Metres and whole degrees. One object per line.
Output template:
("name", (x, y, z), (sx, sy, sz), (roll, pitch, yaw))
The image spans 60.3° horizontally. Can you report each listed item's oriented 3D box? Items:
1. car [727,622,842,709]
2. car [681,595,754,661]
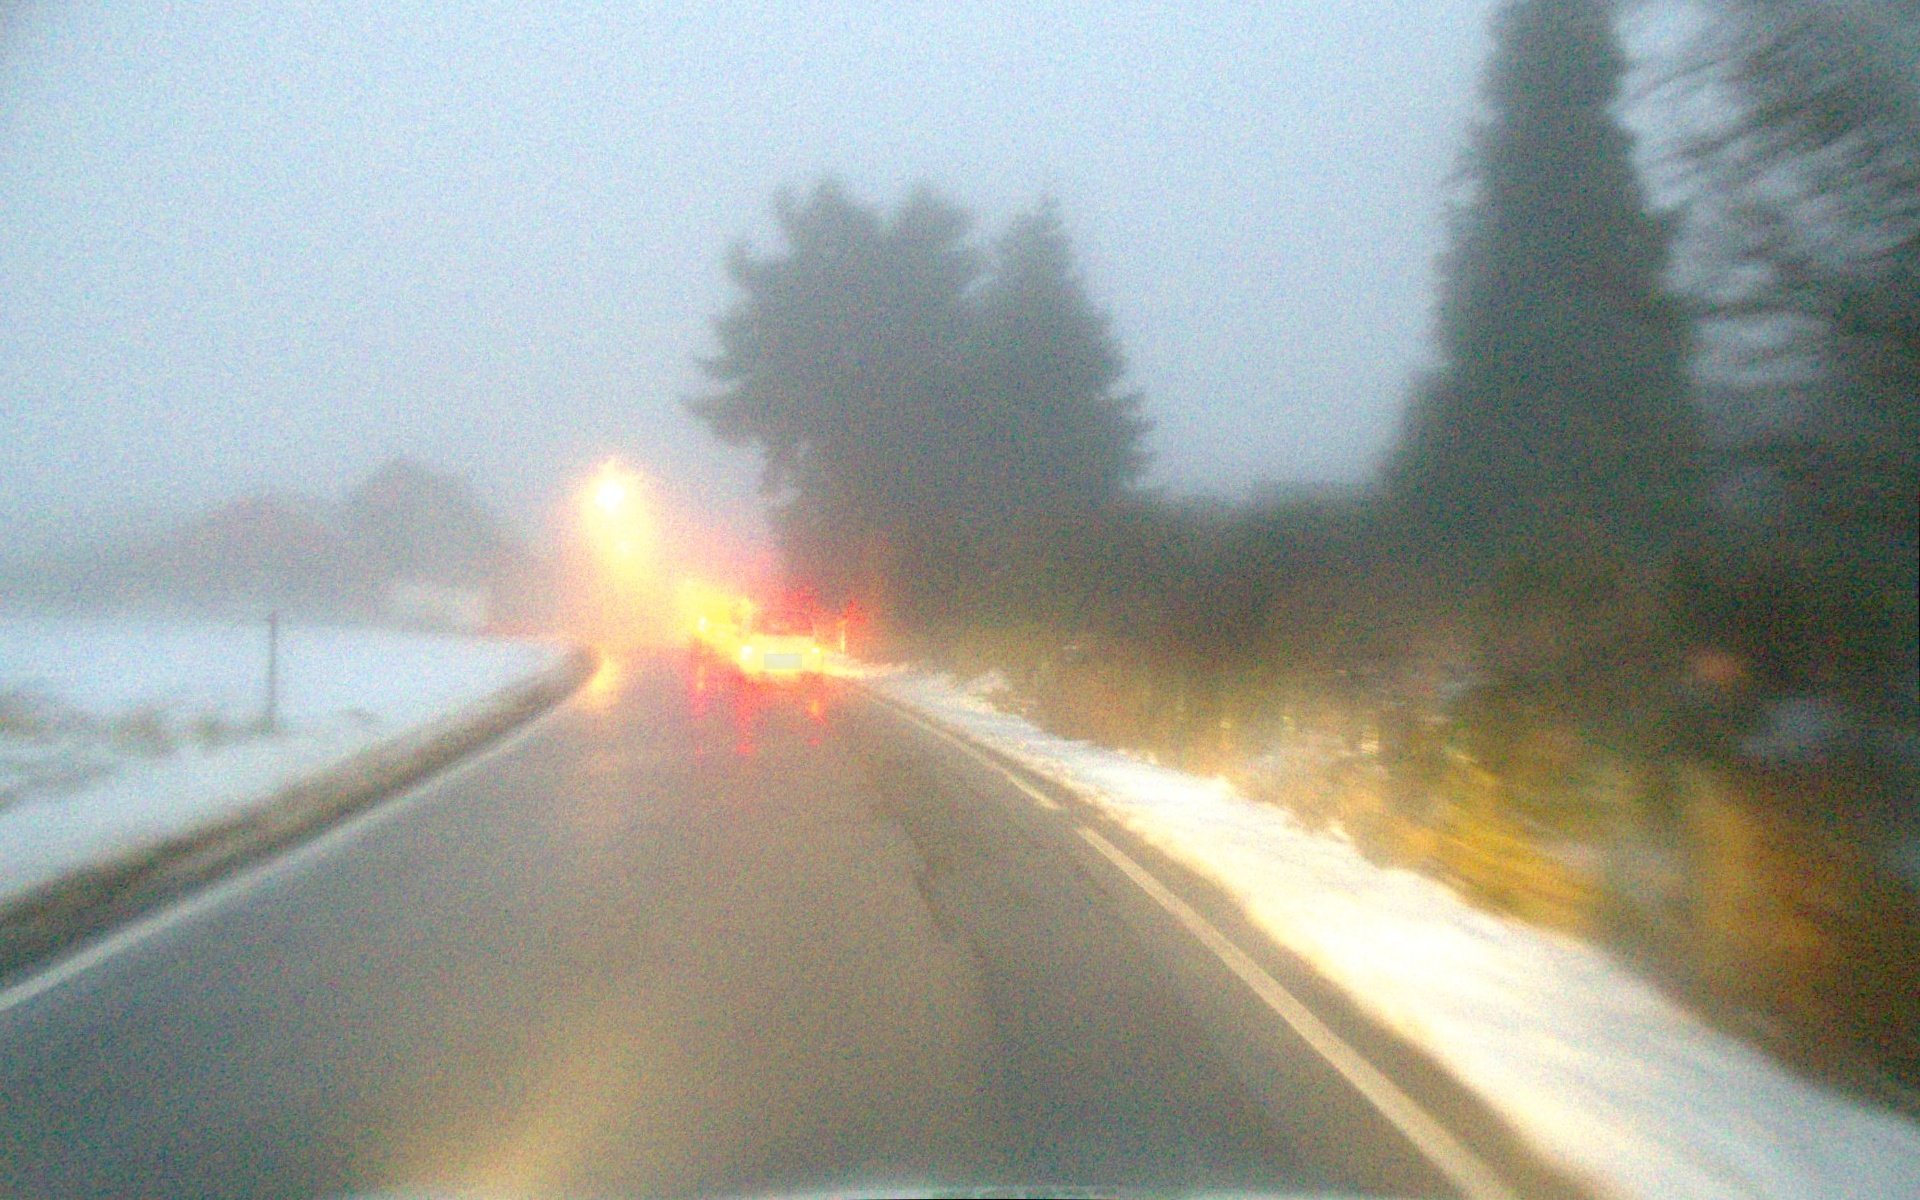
("car", (-3.382, 1.179, 31.277), (1.957, 1.534, 3.991), (0, -1, -9))
("car", (-6.838, 0.796, 46.991), (1.956, 1.780, 3.993), (0, -1, -7))
